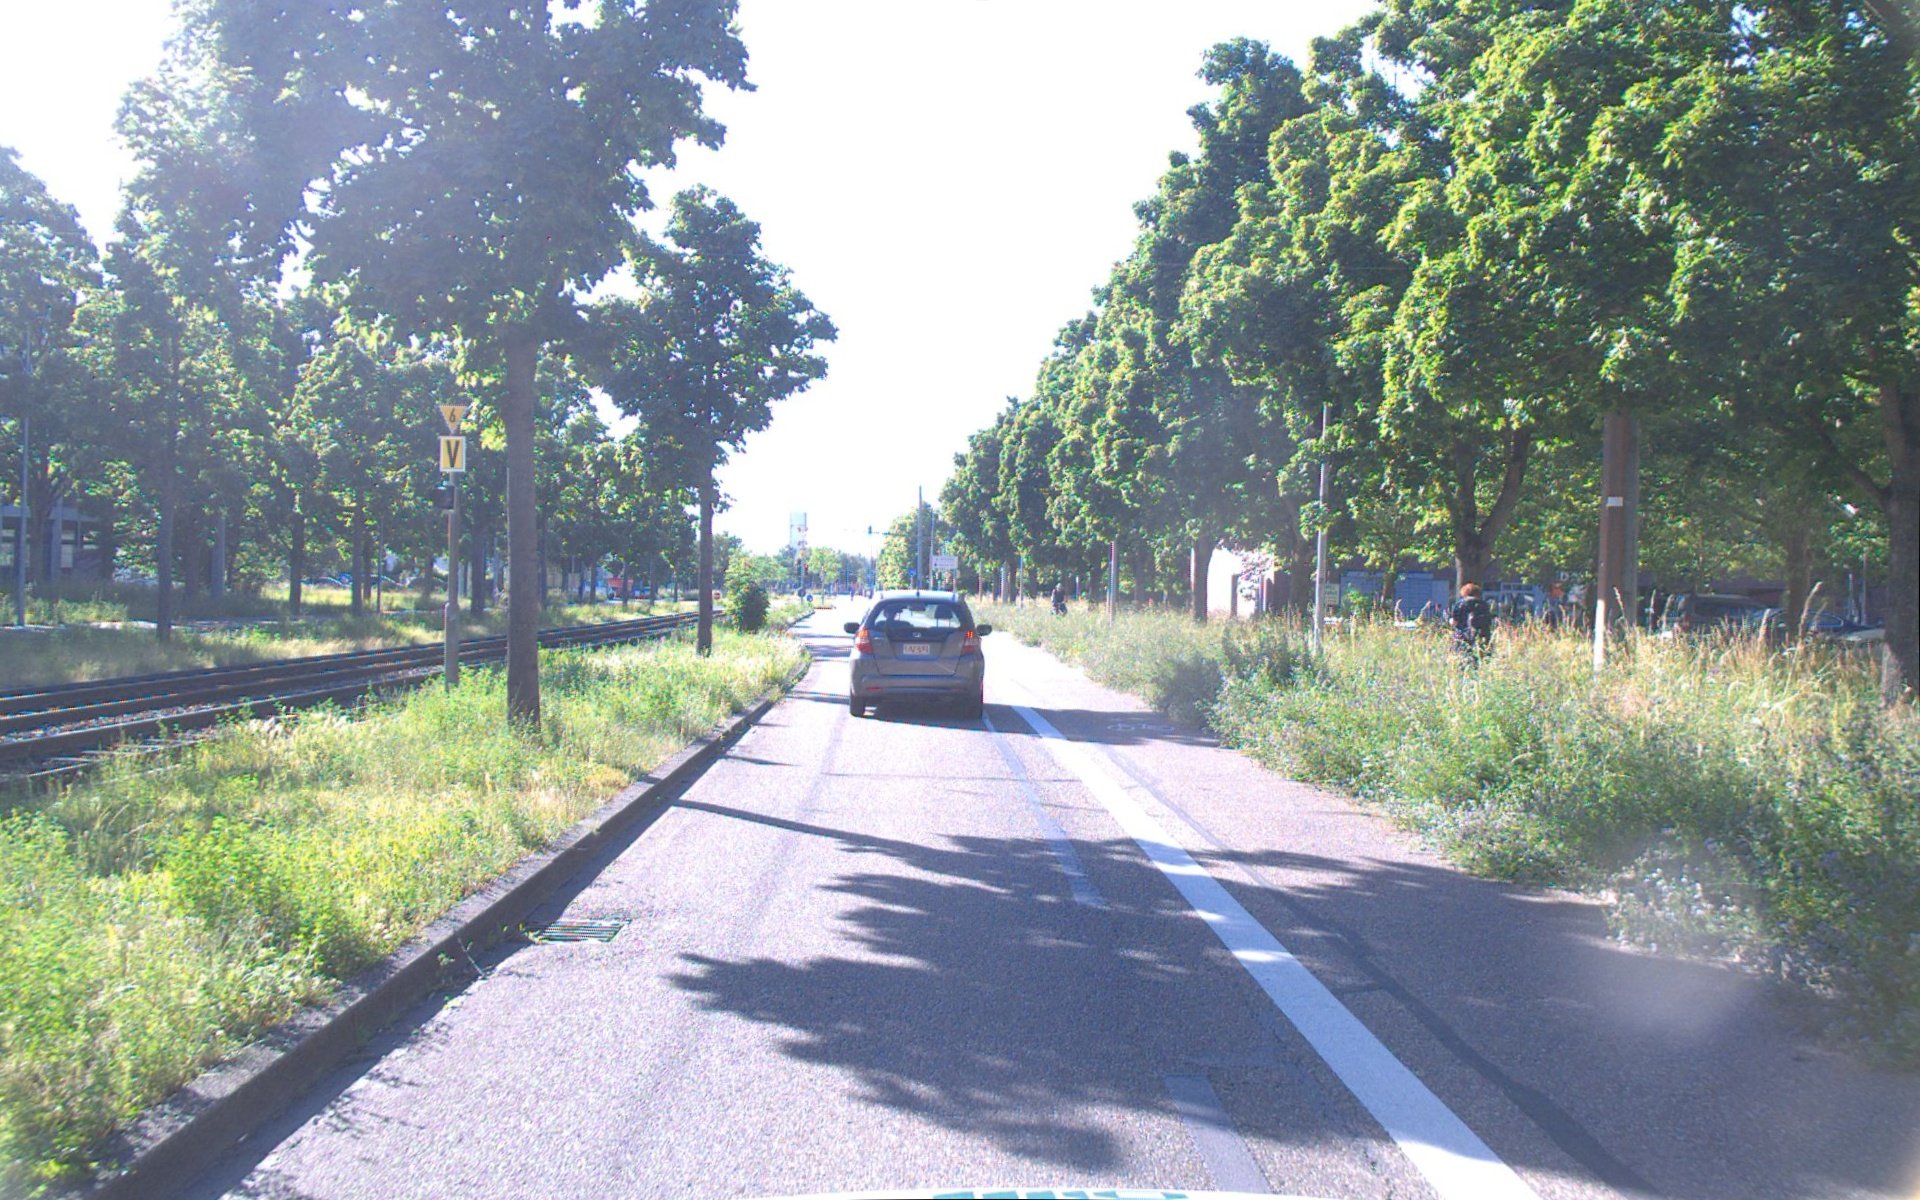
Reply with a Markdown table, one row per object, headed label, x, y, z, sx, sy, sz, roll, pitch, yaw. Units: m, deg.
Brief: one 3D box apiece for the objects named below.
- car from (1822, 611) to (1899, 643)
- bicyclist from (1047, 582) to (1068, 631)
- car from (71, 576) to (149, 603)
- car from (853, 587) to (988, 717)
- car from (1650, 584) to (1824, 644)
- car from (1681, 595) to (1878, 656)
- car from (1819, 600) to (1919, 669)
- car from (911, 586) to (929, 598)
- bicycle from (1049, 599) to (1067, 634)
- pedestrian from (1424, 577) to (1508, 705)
| label | x | y | z | sx | sy | sz | roll | pitch | yaw |
| --- | --- | --- | --- | --- | --- | --- | --- | --- | --- |
| car | 56.314 | 1.701 | 103.495 | 3.915 | 1.860 | 1.868 | 2 | 0 | -11 |
| bicyclist | 3.503 | 0.229 | 59.308 | 0.669 | 1.750 | 0.902 | 1 | -1 | 0 |
| car | -56.914 | -0.706 | 110.810 | 4.384 | 1.668 | 1.964 | 1 | 0 | -37 |
| car | -0.551 | 0.607 | 21.178 | 1.592 | 1.526 | 3.454 | 0 | 0 | -3 |
| car | 21.232 | 0.370 | 45.304 | 3.948 | 1.531 | 1.738 | 1 | 0 | -1 |
| car | 21.286 | 0.643 | 43.073 | 4.266 | 1.484 | 1.689 | 1 | 0 | 1 |
| car | 21.618 | 0.789 | 36.770 | 4.079 | 1.457 | 1.825 | 2 | 0 | 1 |
| car | -4.739 | -0.935 | 196.152 | 1.741 | 1.411 | 3.863 | 0 | 0 | -8 |
| bicycle | 3.505 | 0.607 | 59.306 | 0.473 | 1.225 | 2.142 | 1 | -2 | -1 |
| pedestrian | 6.544 | 0.523 | 21.408 | 0.807 | 1.596 | 0.762 | 2 | 0 | -1 |
